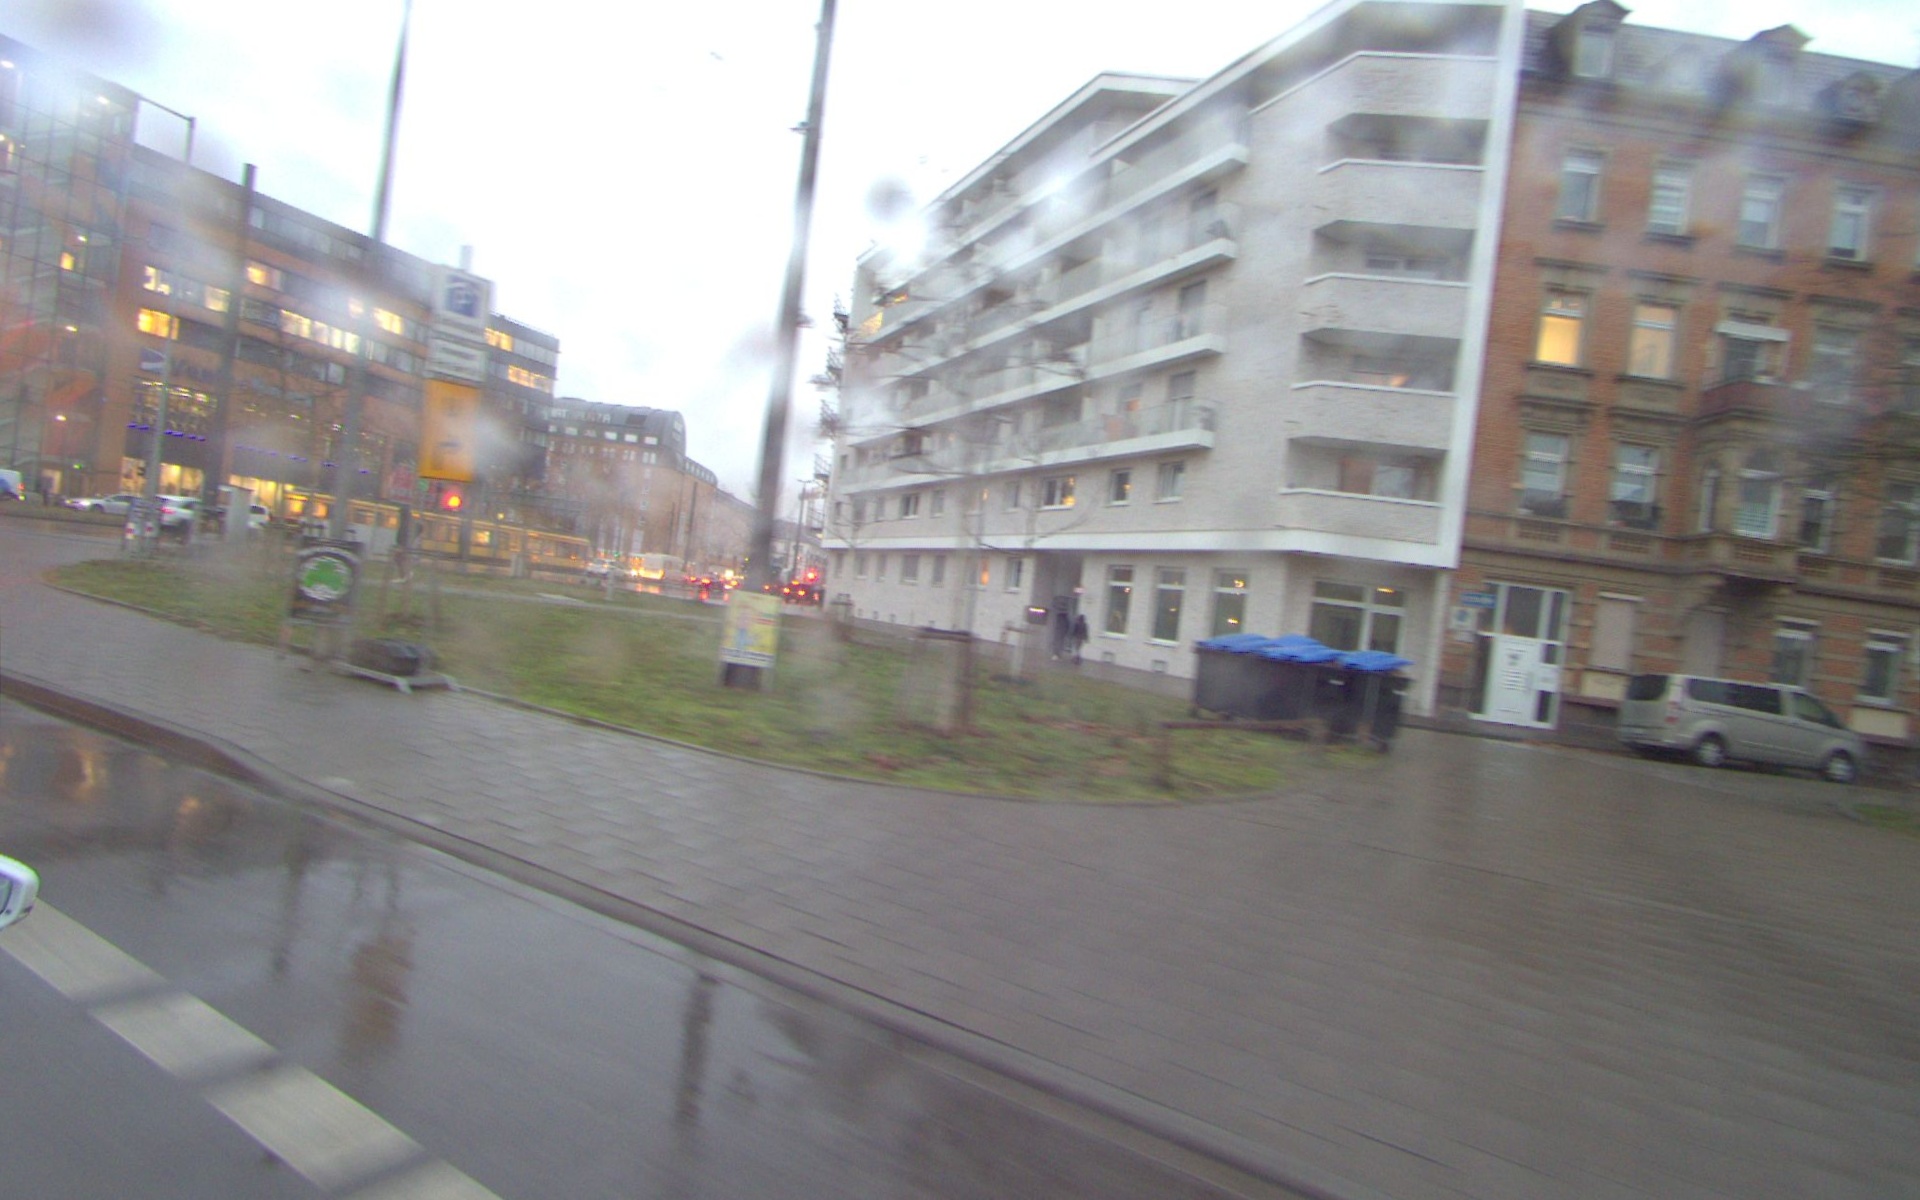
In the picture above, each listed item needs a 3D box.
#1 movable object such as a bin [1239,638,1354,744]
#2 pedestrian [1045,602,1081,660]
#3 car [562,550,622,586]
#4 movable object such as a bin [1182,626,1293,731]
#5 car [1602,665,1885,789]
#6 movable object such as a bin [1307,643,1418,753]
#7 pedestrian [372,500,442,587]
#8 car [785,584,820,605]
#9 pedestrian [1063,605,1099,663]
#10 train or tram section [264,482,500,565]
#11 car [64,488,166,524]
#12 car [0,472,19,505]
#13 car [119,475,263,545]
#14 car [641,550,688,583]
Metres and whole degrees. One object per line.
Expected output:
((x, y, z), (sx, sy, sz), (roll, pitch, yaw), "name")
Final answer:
((5.205, 1.394, 15.615), (1.003, 1.434, 1.217), (6, 1, -24), "movable object such as a bin")
((3.229, 0.976, 31.669), (0.671, 1.733, 0.601), (9, -1, -31), "pedestrian")
((-27.833, -2.376, 76.150), (1.963, 2.036, 4.004), (8, -2, 19), "car")
((4.608, 1.291, 16.772), (1.018, 1.513, 1.321), (7, 0, -24), "movable object such as a bin")
((17.640, 2.820, 22.820), (4.662, 1.940, 2.002), (9, -2, 0), "car")
((6.291, 1.521, 15.776), (1.022, 1.507, 1.038), (9, -2, -15), "movable object such as a bin")
((-13.731, -1.391, 24.992), (1.165, 1.946, 0.889), (10, -2, -38), "pedestrian")
((-15.819, -0.534, 101.421), (1.962, 1.600, 4.094), (8, -2, 13), "car")
((3.848, 1.082, 32.091), (0.671, 1.733, 0.624), (9, -1, -31), "pedestrian")
((-37.062, -4.698, 66.079), (2.292, 3.300, 16.668), (7, -1, 14), "train or tram section")
((-49.981, -5.525, 59.592), (1.767, 1.407, 4.228), (7, 0, 22), "car")
((-52.329, -6.144, 52.416), (1.766, 1.614, 4.433), (7, 0, 21), "car")
((-32.227, -3.721, 42.351), (1.962, 2.036, 4.376), (8, -2, 13), "car")
((-25.082, -2.813, 85.518), (1.963, 2.036, 4.955), (9, -2, 4), "car")
